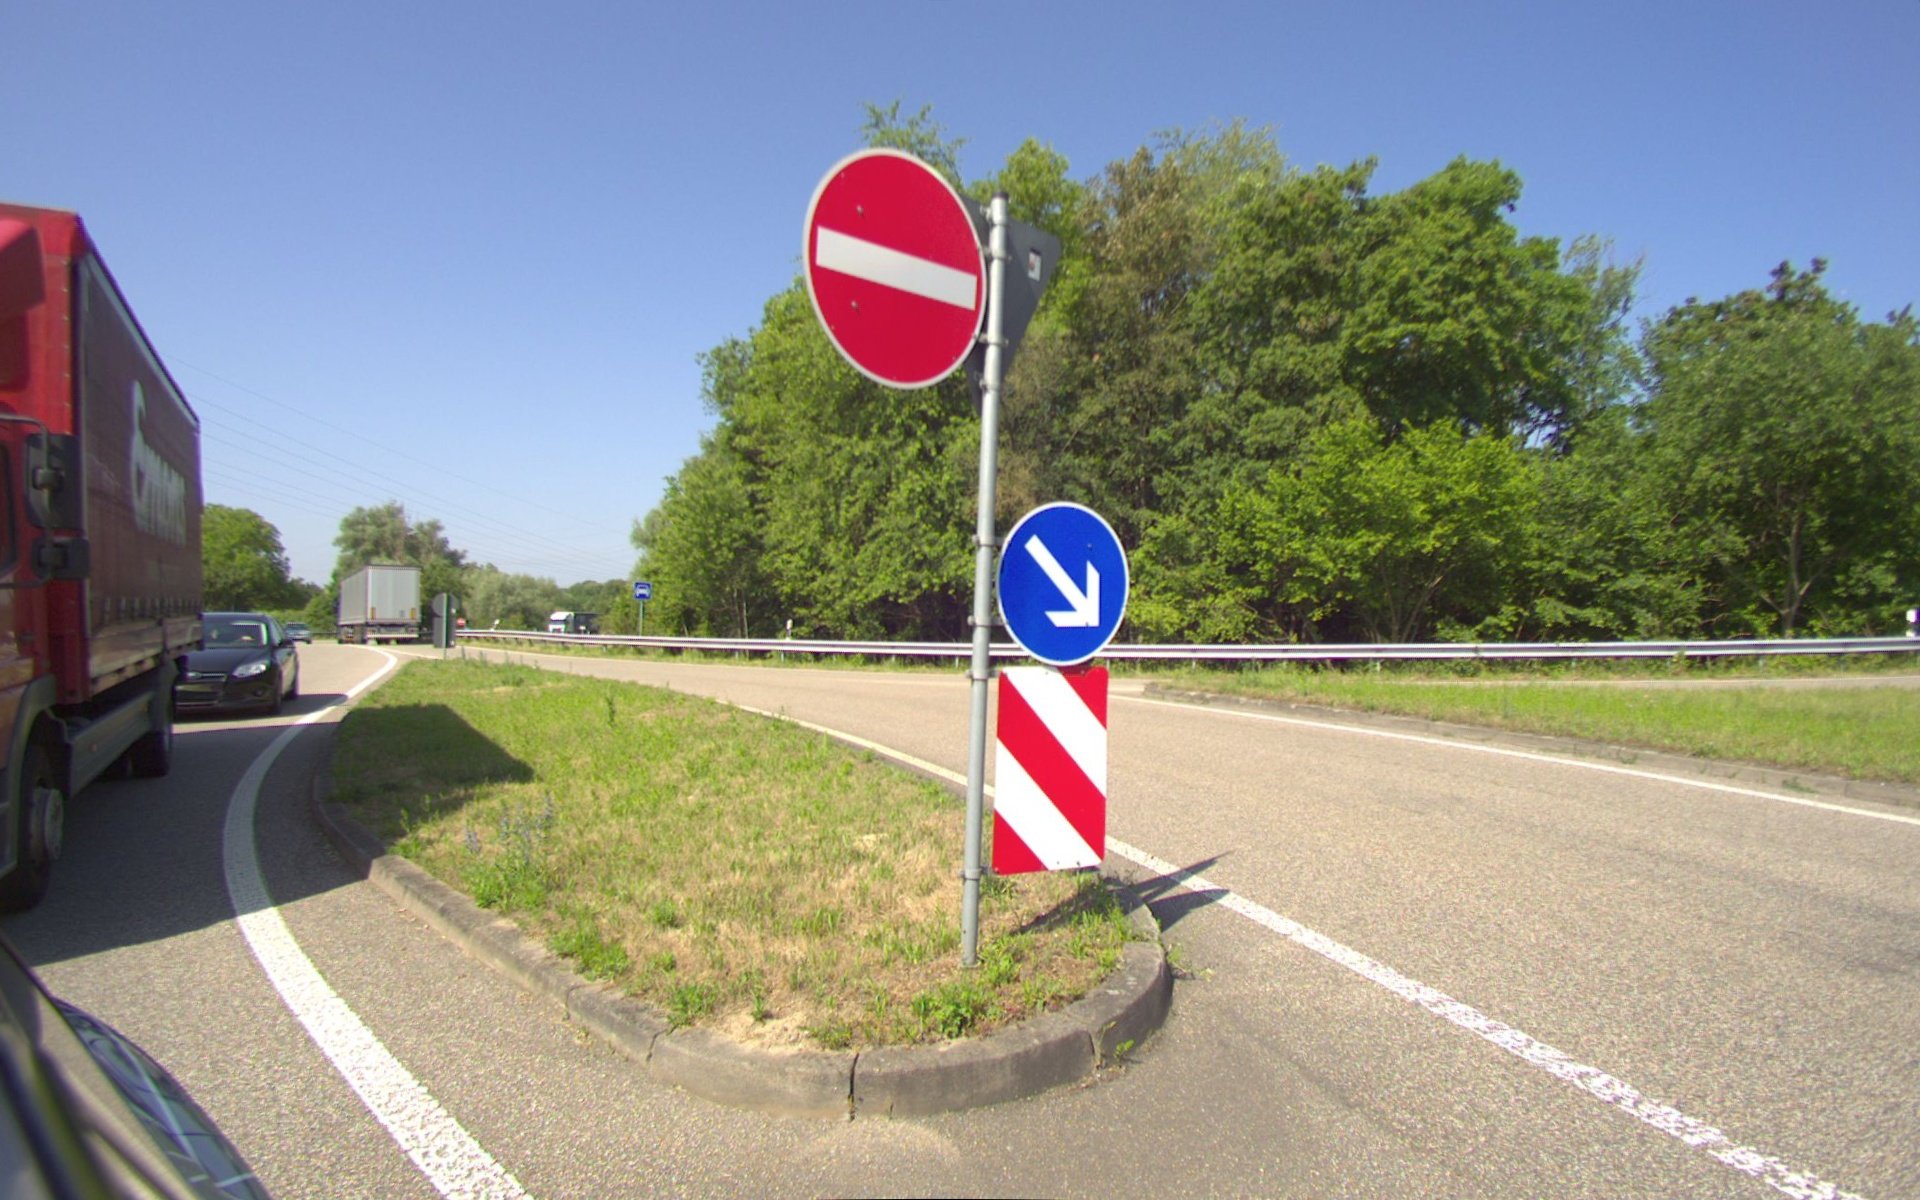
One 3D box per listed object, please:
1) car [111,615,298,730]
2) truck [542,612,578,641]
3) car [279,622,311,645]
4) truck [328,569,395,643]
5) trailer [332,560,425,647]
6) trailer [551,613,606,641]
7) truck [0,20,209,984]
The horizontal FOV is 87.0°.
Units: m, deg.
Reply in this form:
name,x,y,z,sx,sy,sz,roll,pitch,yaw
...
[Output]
name,x,y,z,sx,sy,sz,roll,pitch,yaw
car,-10.954,0.958,14.944,1.758,1.425,4.012,0,-1,-30
truck,-62.159,4.151,157.227,2.903,4.270,5.724,1,-2,4
car,-43.859,2.201,66.753,1.758,1.396,4.390,0,-1,-33
truck,-37.011,0.424,62.518,2.892,4.279,5.746,3,-3,-36
trailer,-32.944,0.371,56.929,2.911,4.300,14.013,3,-3,-36
trailer,-61.722,4.410,164.216,2.893,4.272,13.964,1,-2,4
truck,-7.256,-0.315,7.067,2.646,3.689,9.287,0,-1,-33
